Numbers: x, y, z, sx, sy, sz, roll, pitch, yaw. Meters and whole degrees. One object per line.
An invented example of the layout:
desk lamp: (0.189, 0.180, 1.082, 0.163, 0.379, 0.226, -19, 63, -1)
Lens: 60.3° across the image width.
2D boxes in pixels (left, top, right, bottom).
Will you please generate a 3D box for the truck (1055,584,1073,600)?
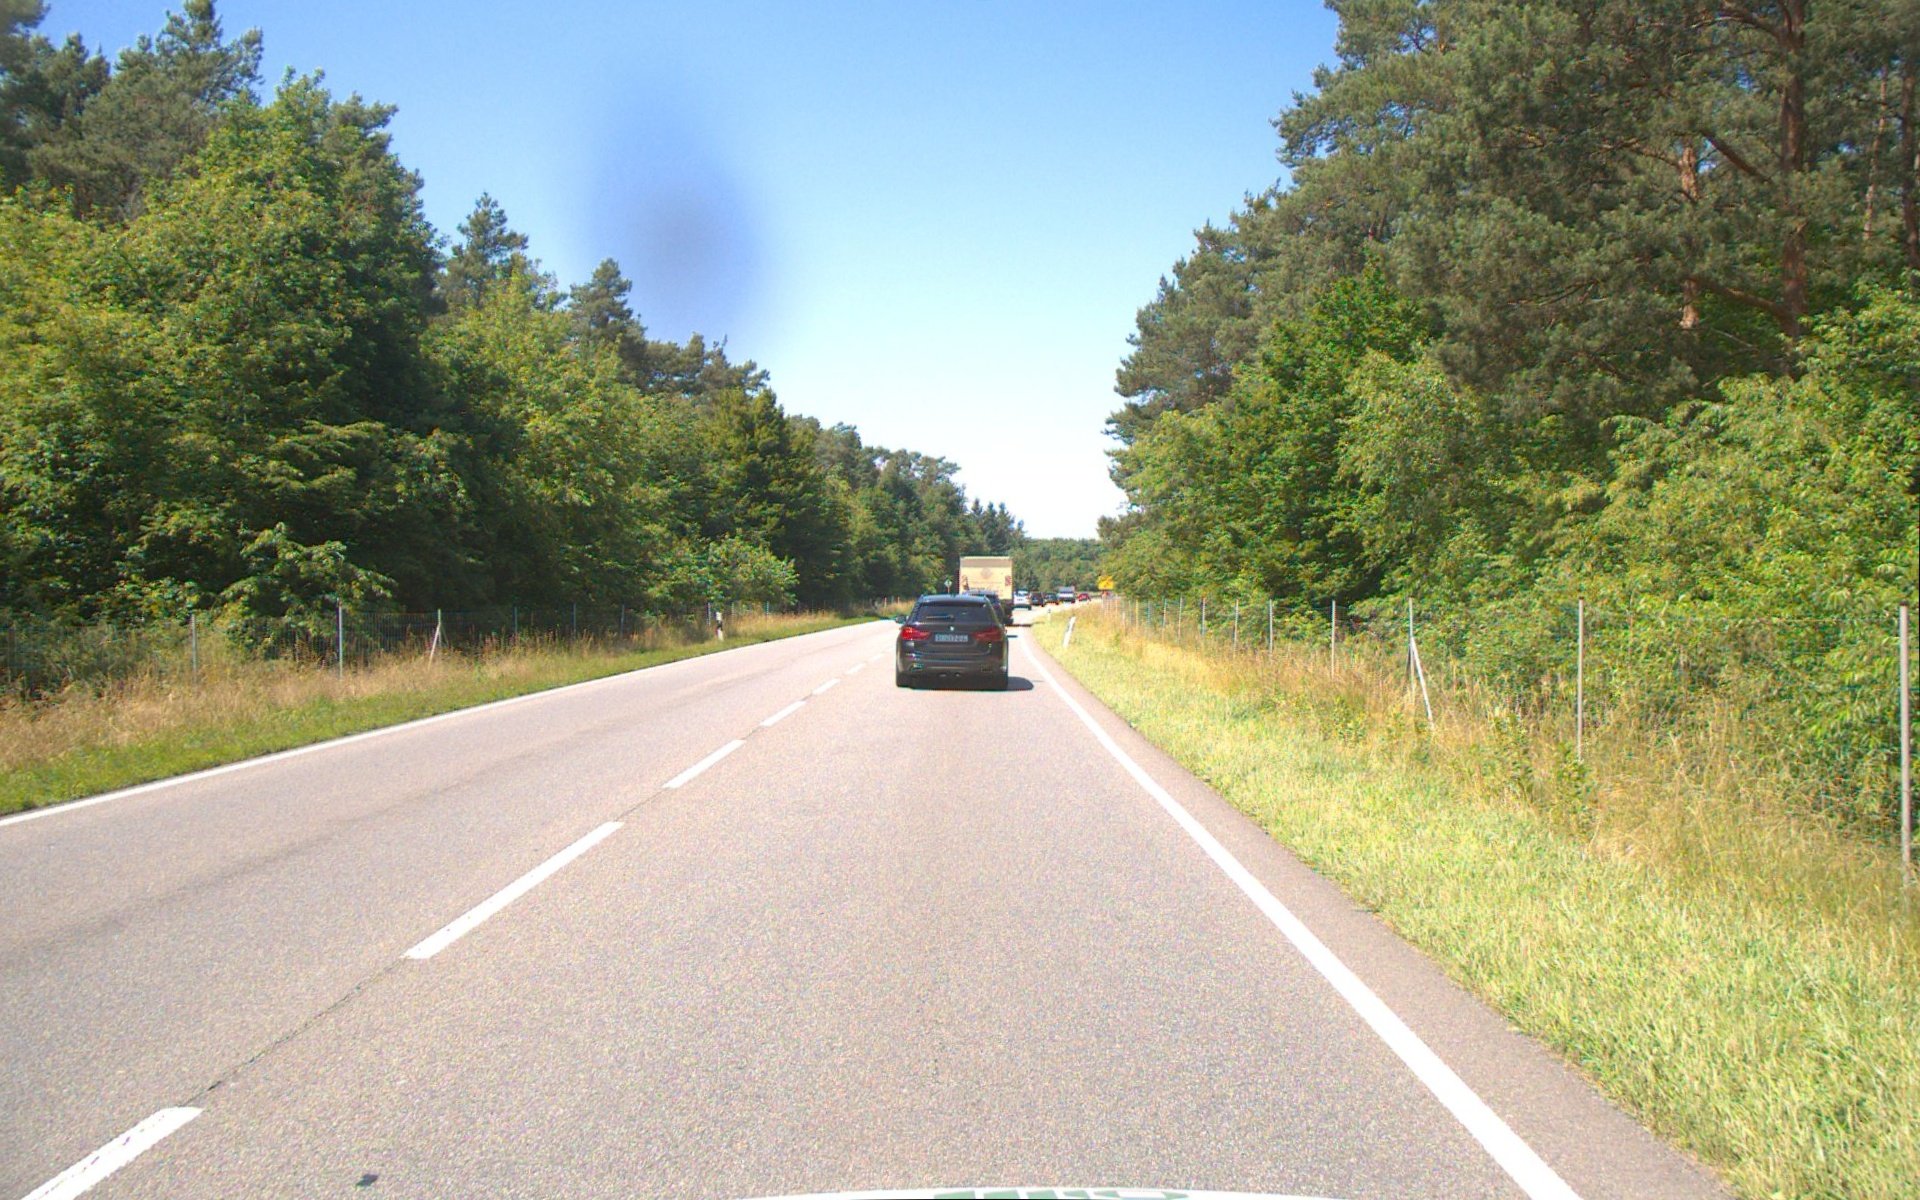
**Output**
truck: (14.701, -1.119, 233.904, 2.510, 2.240, 4.977, -1, 1, 4)

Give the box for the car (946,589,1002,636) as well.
car: (0.502, 0.423, 59.647, 1.907, 1.568, 4.000, -1, 0, 0)

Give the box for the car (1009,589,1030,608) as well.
car: (5.350, -0.116, 148.565, 1.824, 1.633, 4.001, -1, 0, 2)

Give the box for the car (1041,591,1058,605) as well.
car: (11.262, -0.236, 208.257, 1.951, 1.665, 4.002, -1, 0, 4)

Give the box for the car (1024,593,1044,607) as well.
car: (8.138, 0.013, 181.392, 1.953, 1.445, 3.999, 1, 1, -1)

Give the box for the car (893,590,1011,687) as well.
car: (-0.196, 0.587, 27.699, 1.784, 1.496, 3.998, 0, 0, -3)

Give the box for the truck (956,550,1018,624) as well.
truck: (1.305, -0.642, 80.537, 2.904, 3.447, 6.439, 0, 1, 1)
